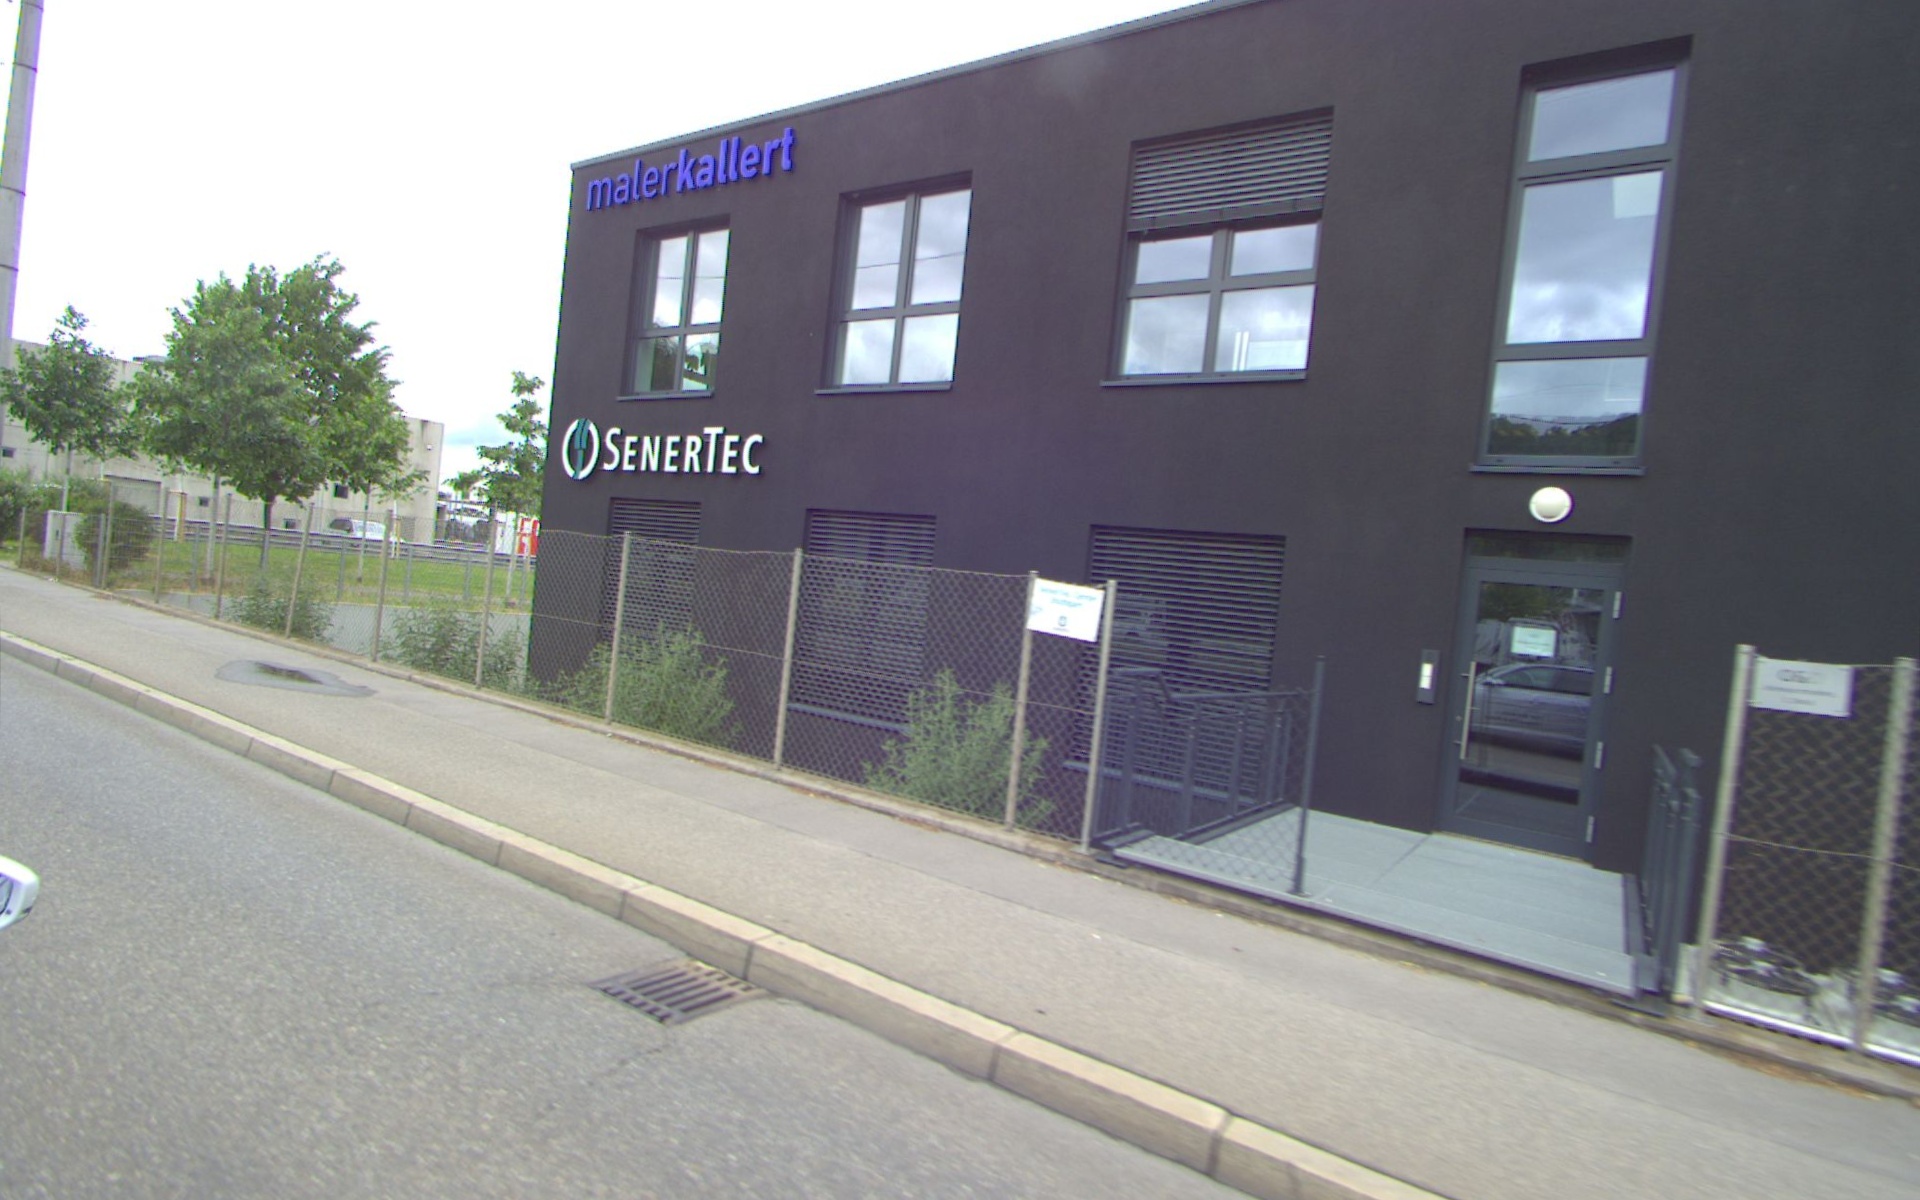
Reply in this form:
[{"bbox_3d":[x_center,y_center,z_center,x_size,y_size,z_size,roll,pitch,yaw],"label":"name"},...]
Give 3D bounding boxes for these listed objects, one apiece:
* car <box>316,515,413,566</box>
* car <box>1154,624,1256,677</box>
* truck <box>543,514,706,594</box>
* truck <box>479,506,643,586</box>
[{"bbox_3d":[-25.496,-2.567,43.008,4.618,1.742,1.910,7,1,38],"label":"car"},{"bbox_3d":[9.920,2.031,41.141,1.970,1.605,4.359,6,0,-17],"label":"car"},{"bbox_3d":[-17.745,-2.381,53.670,2.589,3.071,7.735,6,-3,43],"label":"truck"},{"bbox_3d":[-21.511,-2.838,54.546,7.715,3.071,2.326,9,-2,-39],"label":"truck"}]
